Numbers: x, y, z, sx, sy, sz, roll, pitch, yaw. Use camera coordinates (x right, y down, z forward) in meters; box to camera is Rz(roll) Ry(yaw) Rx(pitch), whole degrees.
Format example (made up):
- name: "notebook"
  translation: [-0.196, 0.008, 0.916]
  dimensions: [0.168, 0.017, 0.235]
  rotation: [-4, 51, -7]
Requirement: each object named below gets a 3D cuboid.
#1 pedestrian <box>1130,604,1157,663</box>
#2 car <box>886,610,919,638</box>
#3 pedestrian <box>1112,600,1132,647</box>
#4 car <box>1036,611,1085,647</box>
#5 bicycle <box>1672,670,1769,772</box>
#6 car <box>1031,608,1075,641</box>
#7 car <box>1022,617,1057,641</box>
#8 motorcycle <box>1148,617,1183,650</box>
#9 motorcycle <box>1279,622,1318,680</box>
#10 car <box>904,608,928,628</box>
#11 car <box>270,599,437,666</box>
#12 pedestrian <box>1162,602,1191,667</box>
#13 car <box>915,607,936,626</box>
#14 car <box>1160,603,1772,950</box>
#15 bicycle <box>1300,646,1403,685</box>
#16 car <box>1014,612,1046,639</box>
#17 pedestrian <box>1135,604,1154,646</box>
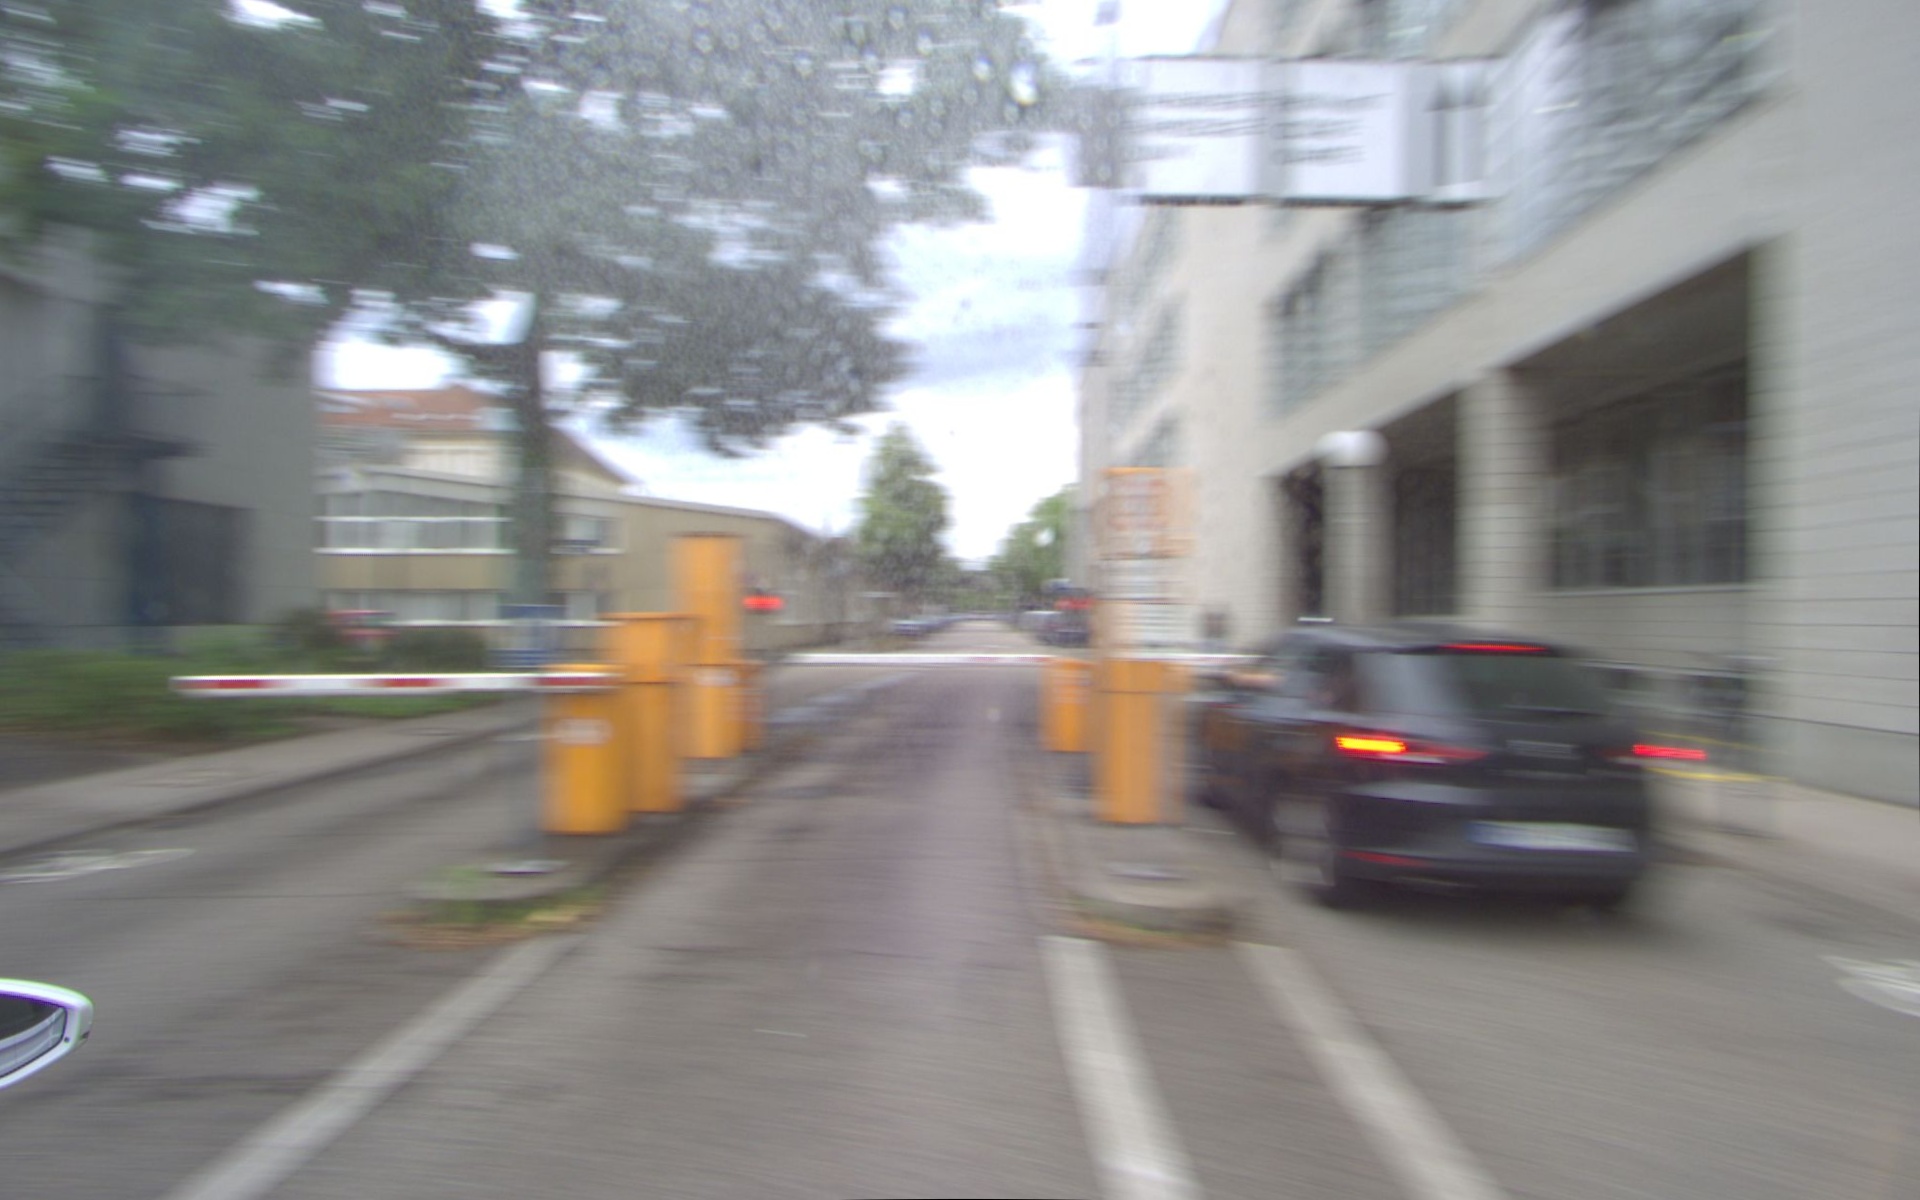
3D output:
- name: "pedestrian"
  translation: [5.512, 1.000, 30.131]
  dimensions: [0.685, 1.737, 0.489]
  rotation: [1, 0, -1]
- name: "car"
  translation: [-3.453, 1.430, 60.980]
  dimensions: [1.741, 1.622, 4.000]
  rotation: [1, 0, 0]
- name: "pedestrian"
  translation: [6.064, 0.860, 37.497]
  dimensions: [0.685, 1.737, 0.489]
  rotation: [1, 0, 2]
- name: "car"
  translation: [4.832, 1.383, 48.797]
  dimensions: [1.961, 1.643, 4.429]
  rotation: [-1, -1, 0]
- name: "bicycle"
  translation: [7.533, 1.155, 9.988]
  dimensions: [0.457, 0.761, 2.284]
  rotation: [-4, -2, 30]
- name: "car"
  translation: [4.904, 1.285, 53.325]
  dimensions: [1.961, 1.644, 4.428]
  rotation: [-1, -1, 1]
- name: "car"
  translation: [5.183, 1.860, 65.492]
  dimensions: [1.961, 1.482, 4.428]
  rotation: [-1, -1, 1]
- name: "motorcycle"
  translation: [8.197, 1.307, 39.853]
  dimensions: [0.749, 1.164, 2.653]
  rotation: [2, 2, 25]
- name: "motorcycle"
  translation: [7.893, 1.154, 23.298]
  dimensions: [0.558, 1.164, 2.209]
  rotation: [2, 2, 25]
- name: "car"
  translation: [-3.661, 1.468, 83.779]
  dimensions: [1.741, 1.622, 4.000]
  rotation: [1, 0, 1]
- name: "car"
  translation: [-15.412, 0.786, 25.733]
  dimensions: [1.832, 1.550, 4.000]
  rotation: [1, 0, 0]
- name: "pedestrian"
  translation: [5.797, 0.919, 26.848]
  dimensions: [0.601, 1.737, 0.574]
  rotation: [-1, 0, -3]
- name: "car"
  translation: [-3.037, 1.473, 89.270]
  dimensions: [1.741, 1.622, 4.000]
  rotation: [1, 0, -1]
- name: "car"
  translation: [2.543, 0.763, 6.291]
  dimensions: [1.753, 1.438, 4.129]
  rotation: [1, 0, 0]
- name: "bicycle"
  translation: [7.842, 1.308, 20.092]
  dimensions: [1.866, 0.708, 0.492]
  rotation: [1, 2, -3]
- name: "car"
  translation: [4.961, 1.782, 71.415]
  dimensions: [1.961, 1.805, 4.428]
  rotation: [-1, 0, 1]
- name: "pedestrian"
  translation: [6.940, 0.938, 37.665]
  dimensions: [0.633, 1.547, 0.472]
  rotation: [1, 0, 3]
